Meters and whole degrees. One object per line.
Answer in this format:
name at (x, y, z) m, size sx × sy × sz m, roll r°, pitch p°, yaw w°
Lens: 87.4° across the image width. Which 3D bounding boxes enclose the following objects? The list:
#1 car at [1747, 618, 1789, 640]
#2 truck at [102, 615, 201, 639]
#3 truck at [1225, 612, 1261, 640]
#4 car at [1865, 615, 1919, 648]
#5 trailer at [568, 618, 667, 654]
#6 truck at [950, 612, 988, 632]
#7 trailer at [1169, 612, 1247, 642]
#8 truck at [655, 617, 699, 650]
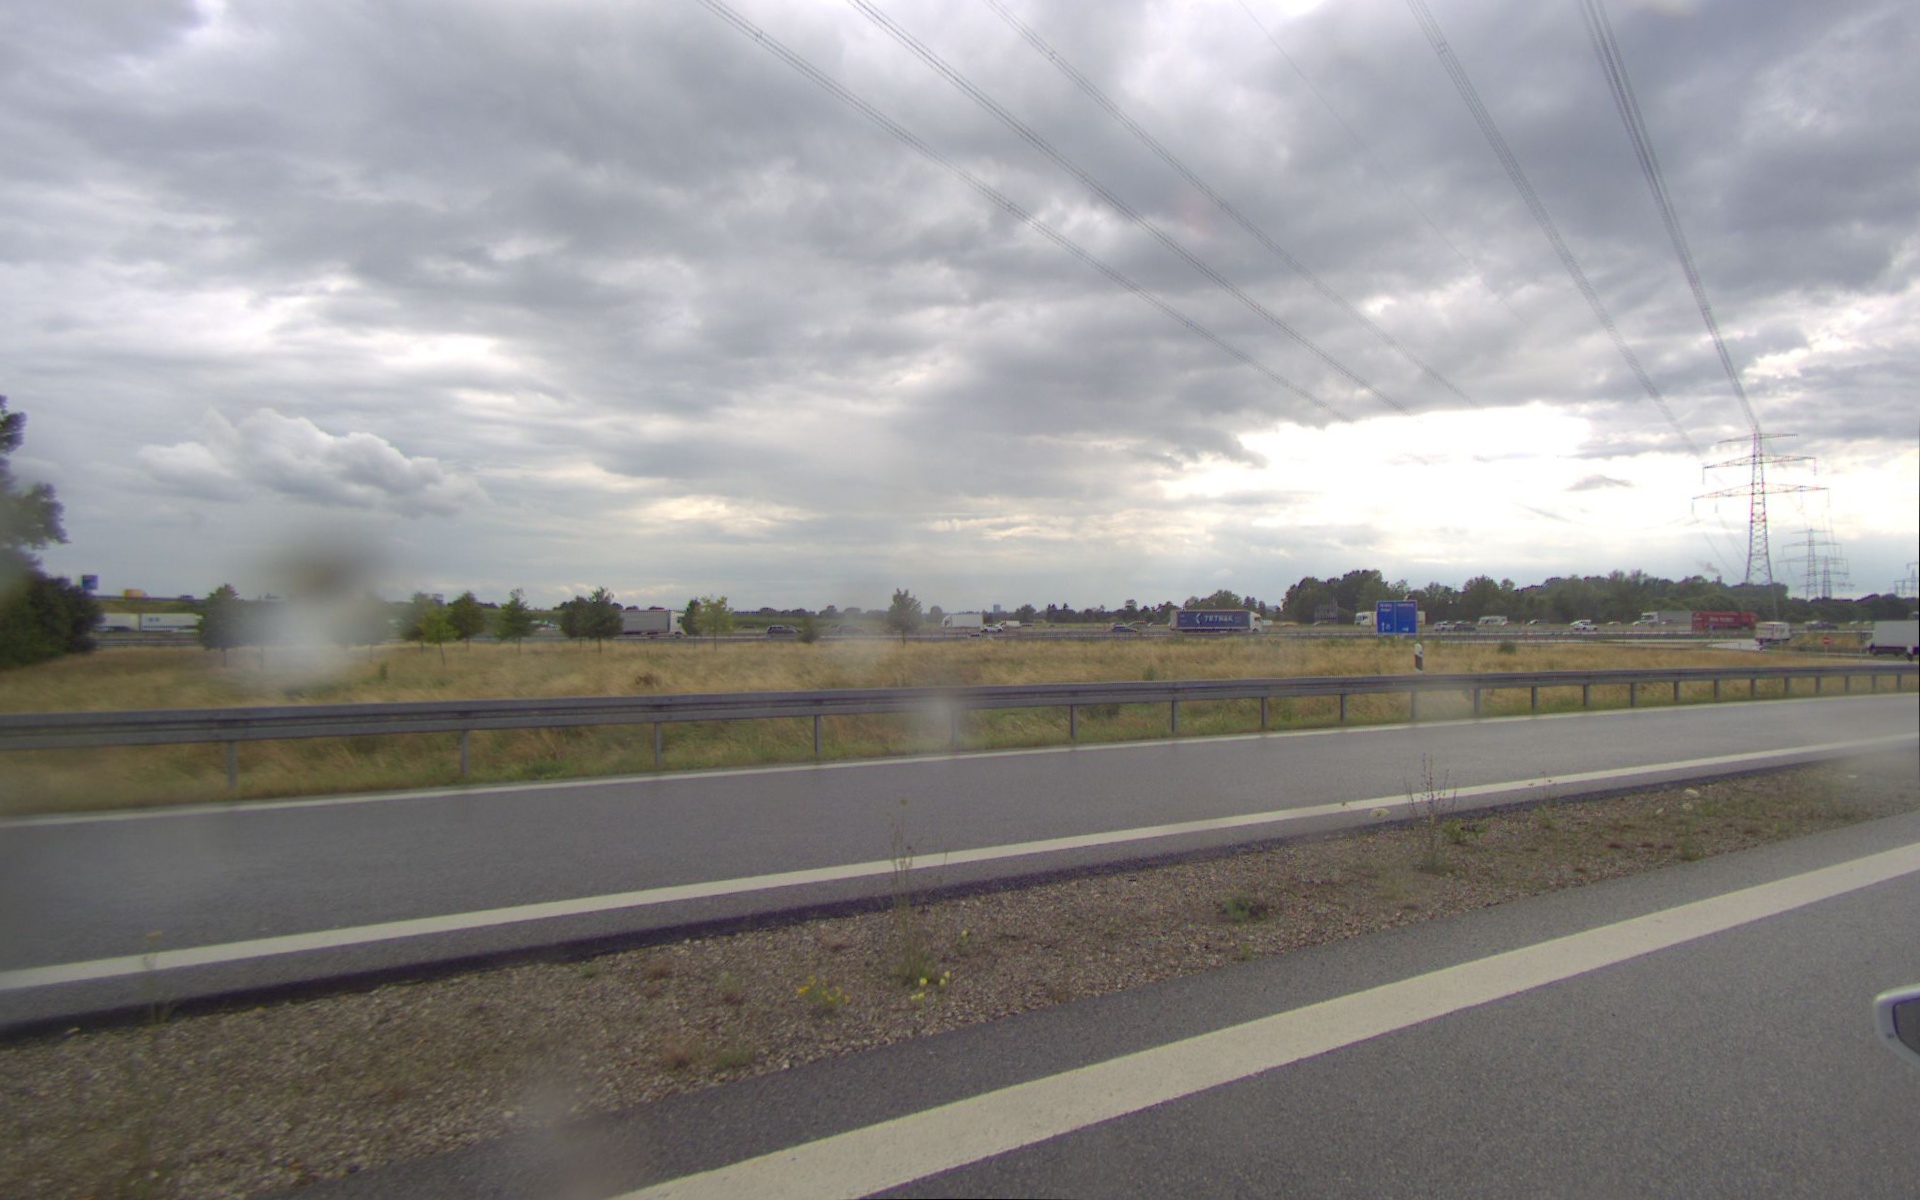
car at (135.014, 4.853, 167.793) m, size 8.960 × 3.658 × 3.359 m, roll 1°, pitch -2°, yaw -37°
truck at (-127.825, 4.194, 159.028) m, size 11.844 × 3.133 × 3.222 m, roll -2°, pitch 0°, yaw -15°
truck at (48.472, 4.456, 172.272) m, size 4.989 × 4.540 × 3.068 m, roll -1°, pitch 0°, yaw -16°
car at (96.836, 3.158, 102.581) m, size 3.082 × 2.991 × 7.213 m, roll -1°, pitch 0°, yaw 9°
trailer at (-49.439, 5.084, 145.462) m, size 13.171 × 4.678 × 3.472 m, roll -1°, pitch 0°, yaw -16°
truck at (1.717, 4.188, 193.793) m, size 6.988 × 3.517 × 1.994 m, roll -1°, pitch 0°, yaw -14°
trailer at (42.133, 4.567, 170.358) m, size 13.083 × 4.698 × 3.047 m, roll -1°, pitch 0°, yaw -16°
truck at (-41.571, 4.848, 147.716) m, size 6.164 × 4.627 × 3.340 m, roll -1°, pitch 0°, yaw -16°
